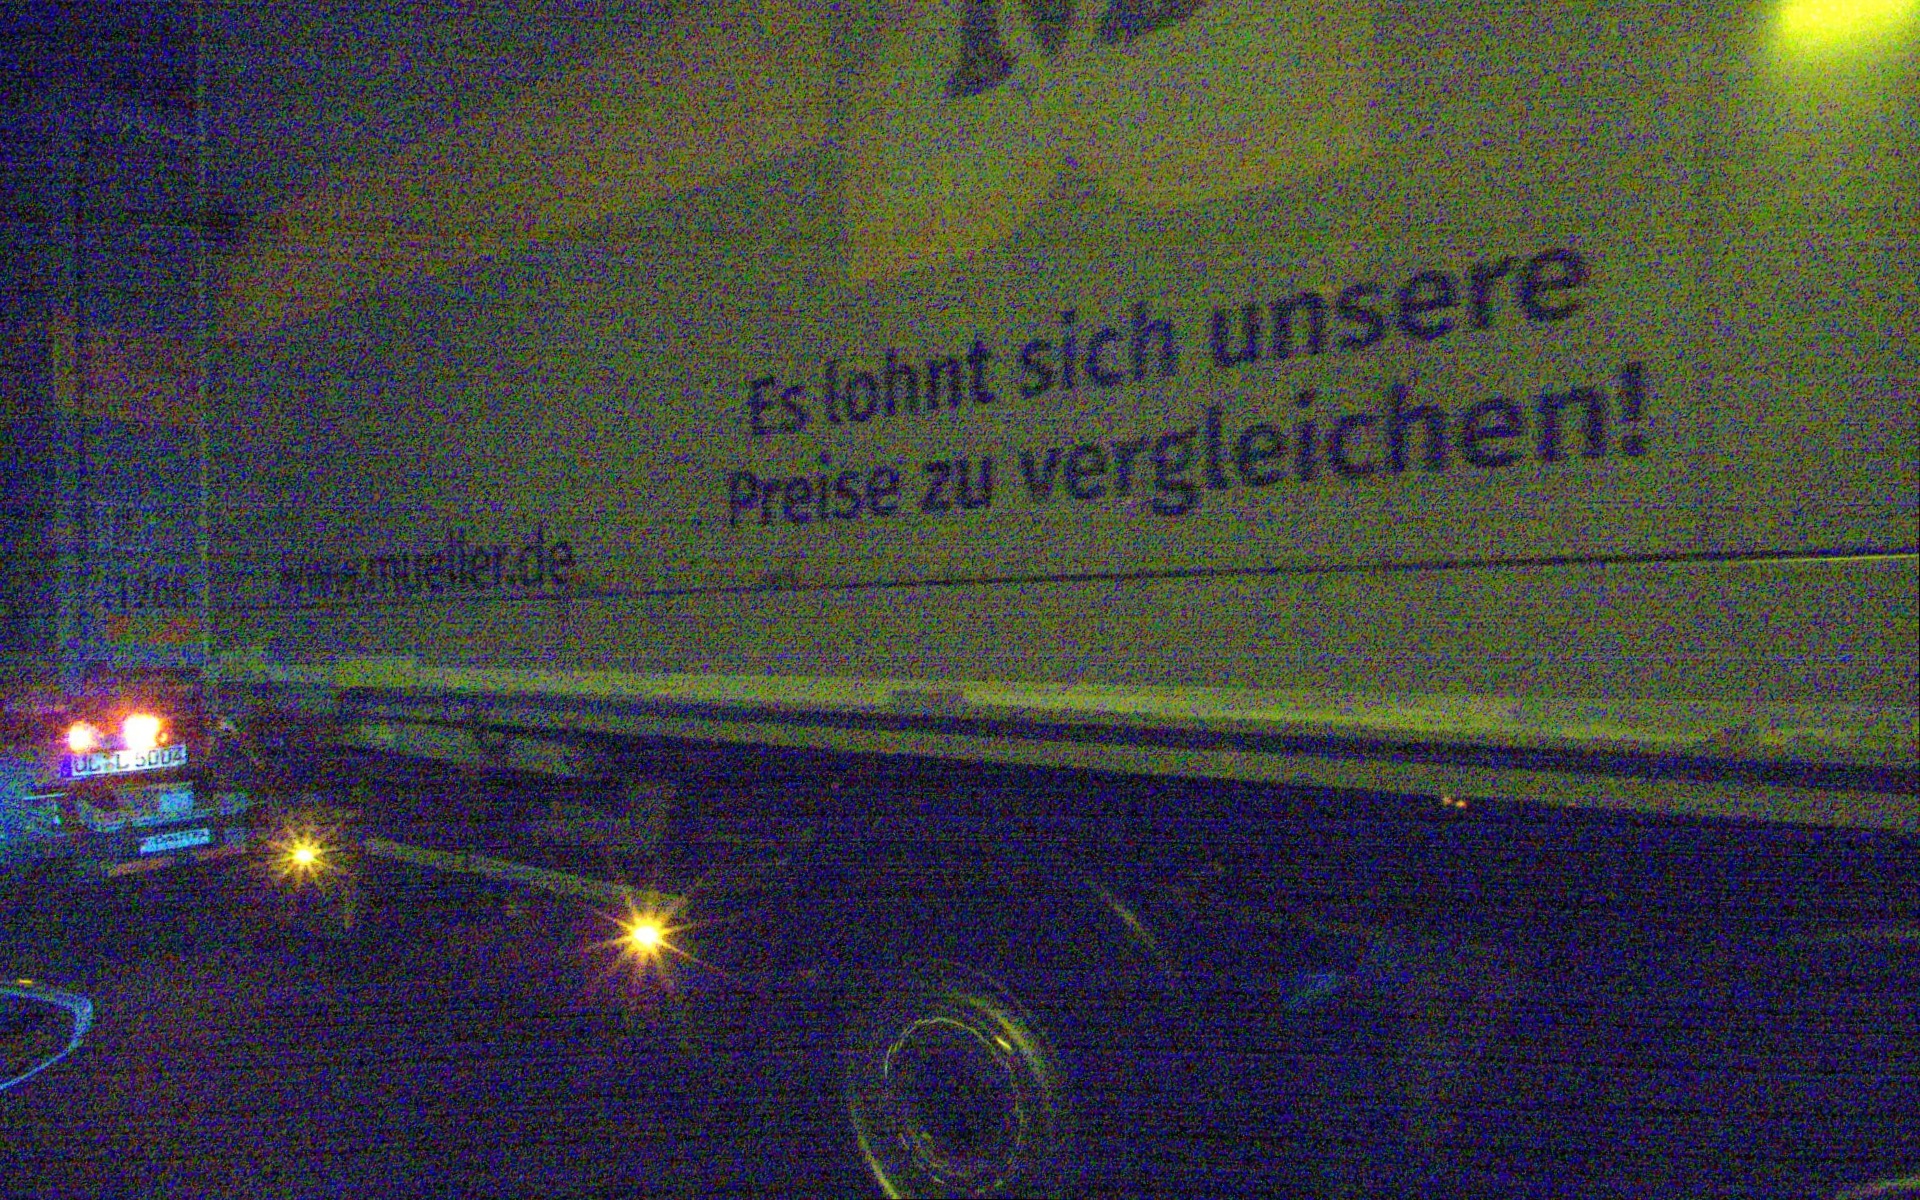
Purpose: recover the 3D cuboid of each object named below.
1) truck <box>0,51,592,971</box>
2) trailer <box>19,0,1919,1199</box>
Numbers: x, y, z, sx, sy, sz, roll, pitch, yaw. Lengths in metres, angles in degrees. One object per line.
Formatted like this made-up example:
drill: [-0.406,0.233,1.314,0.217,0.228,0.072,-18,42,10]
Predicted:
truck: [-7.362,-0.268,8.173,9.768,3.963,2.884,-1,-2,33]
trailer: [0.448,-0.443,3.133,8.821,3.907,2.870,-1,-2,33]
